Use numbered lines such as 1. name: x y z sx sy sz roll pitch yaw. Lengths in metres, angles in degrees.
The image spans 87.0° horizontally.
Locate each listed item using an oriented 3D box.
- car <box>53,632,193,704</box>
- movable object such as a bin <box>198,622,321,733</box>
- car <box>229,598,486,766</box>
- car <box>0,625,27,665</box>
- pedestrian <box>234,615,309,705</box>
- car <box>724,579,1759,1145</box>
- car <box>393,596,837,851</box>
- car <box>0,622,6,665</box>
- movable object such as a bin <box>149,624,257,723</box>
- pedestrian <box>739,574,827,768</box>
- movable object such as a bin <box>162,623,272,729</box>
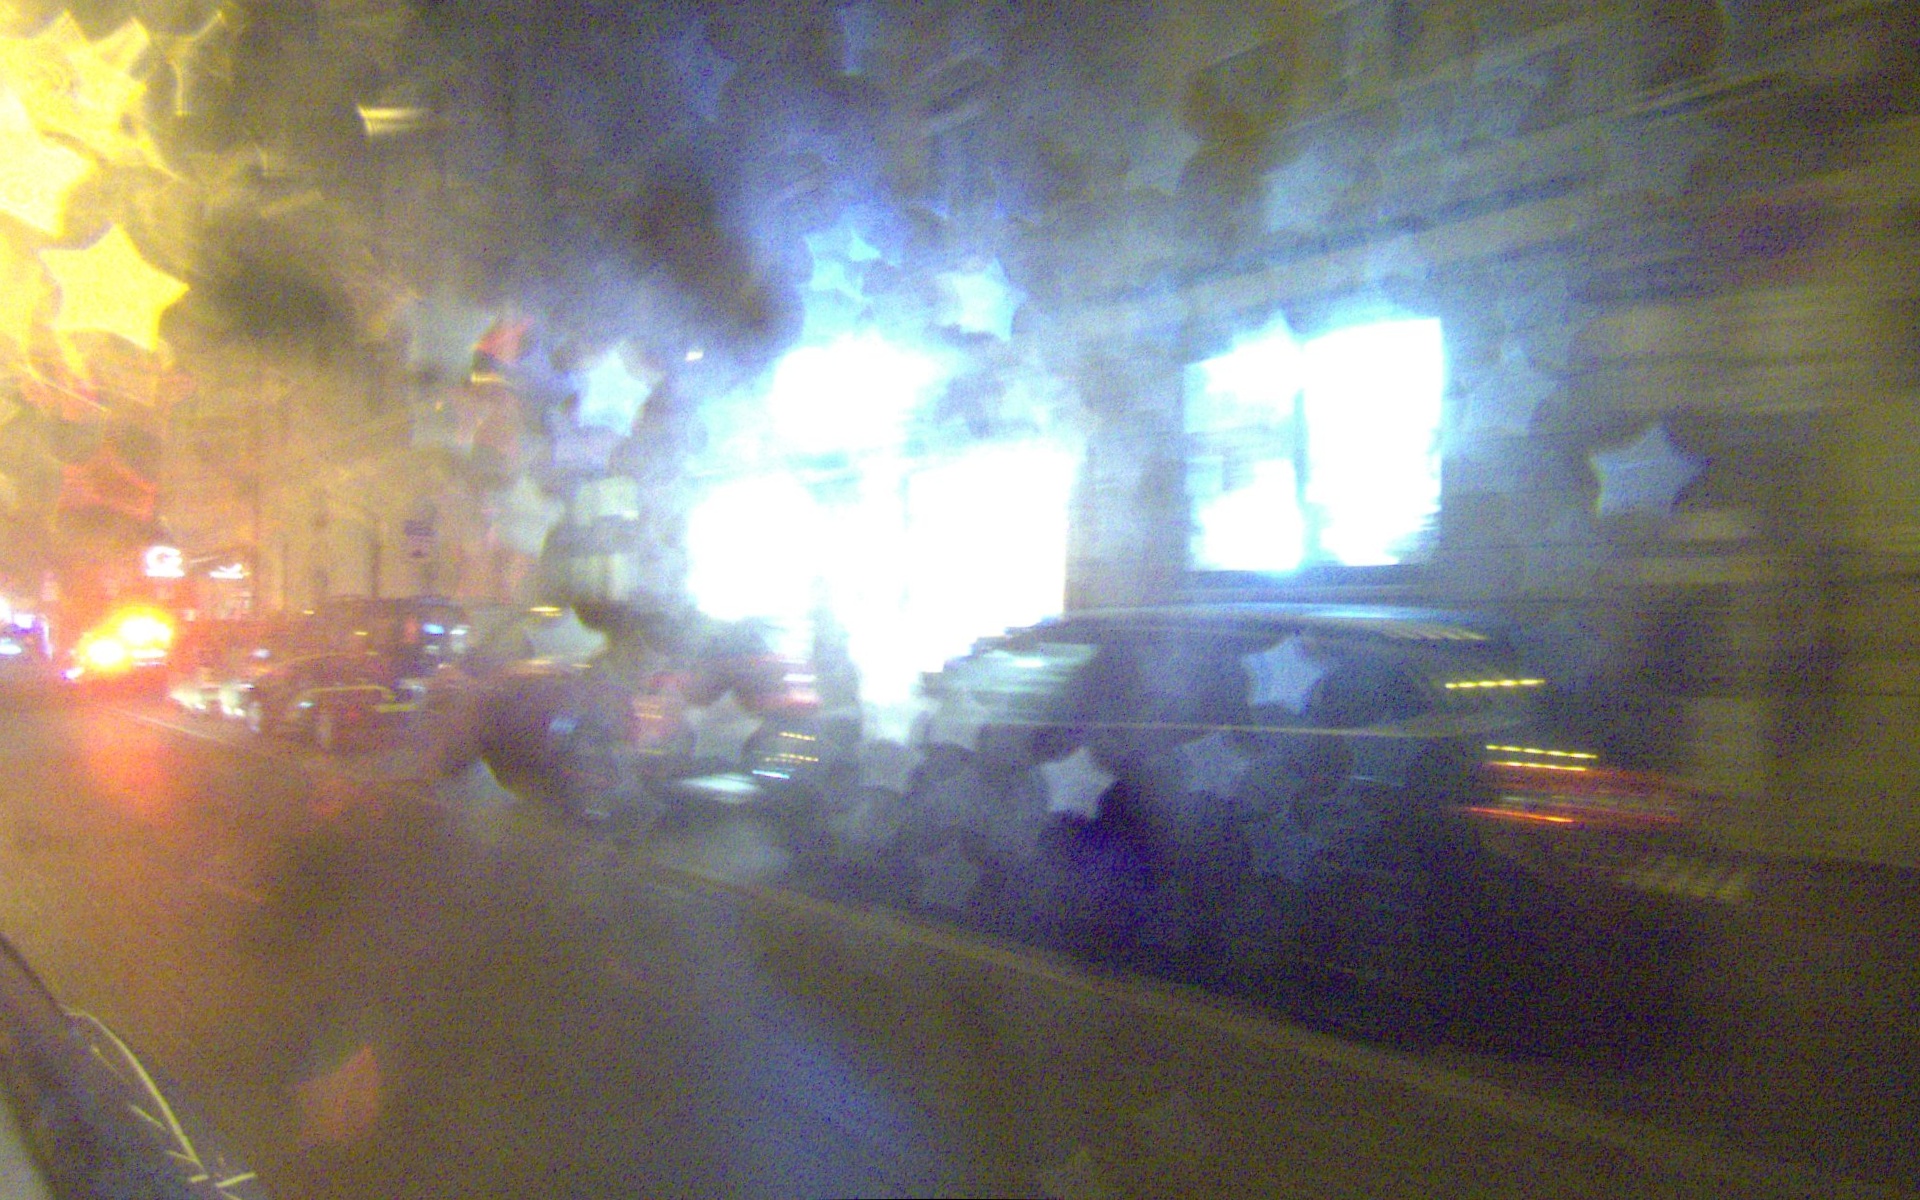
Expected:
1. car: -17.836 1.372 21.498 4.220 1.369 1.637 -2 -2 41
2. movable object such as a bin: -10.152 1.078 14.671 1.151 1.470 1.248 -1 0 43
3. car: -7.339 0.882 12.202 3.719 1.719 1.587 -2 -2 41
4. car: -37.036 1.729 38.805 3.562 1.453 1.530 -2 0 42
5. pedestrian: -14.189 1.218 20.863 0.787 1.796 1.120 -2 -2 41
6. car: 0.898 0.737 4.692 4.313 1.466 1.669 -2 -1 41
7. car: -2.945 0.815 8.172 4.023 1.564 1.587 -2 -1 41
8. car: -44.075 1.919 45.091 4.826 1.860 1.846 -2 -3 42
9. movable object such as a bin: -12.054 1.131 16.112 1.107 1.470 1.195 -1 0 43
10. pedestrian: -1.716 0.670 9.824 0.549 1.795 0.632 -2 -3 42
11. movable object such as a bin: -11.221 1.106 15.279 1.107 1.470 1.152 -1 -1 43
